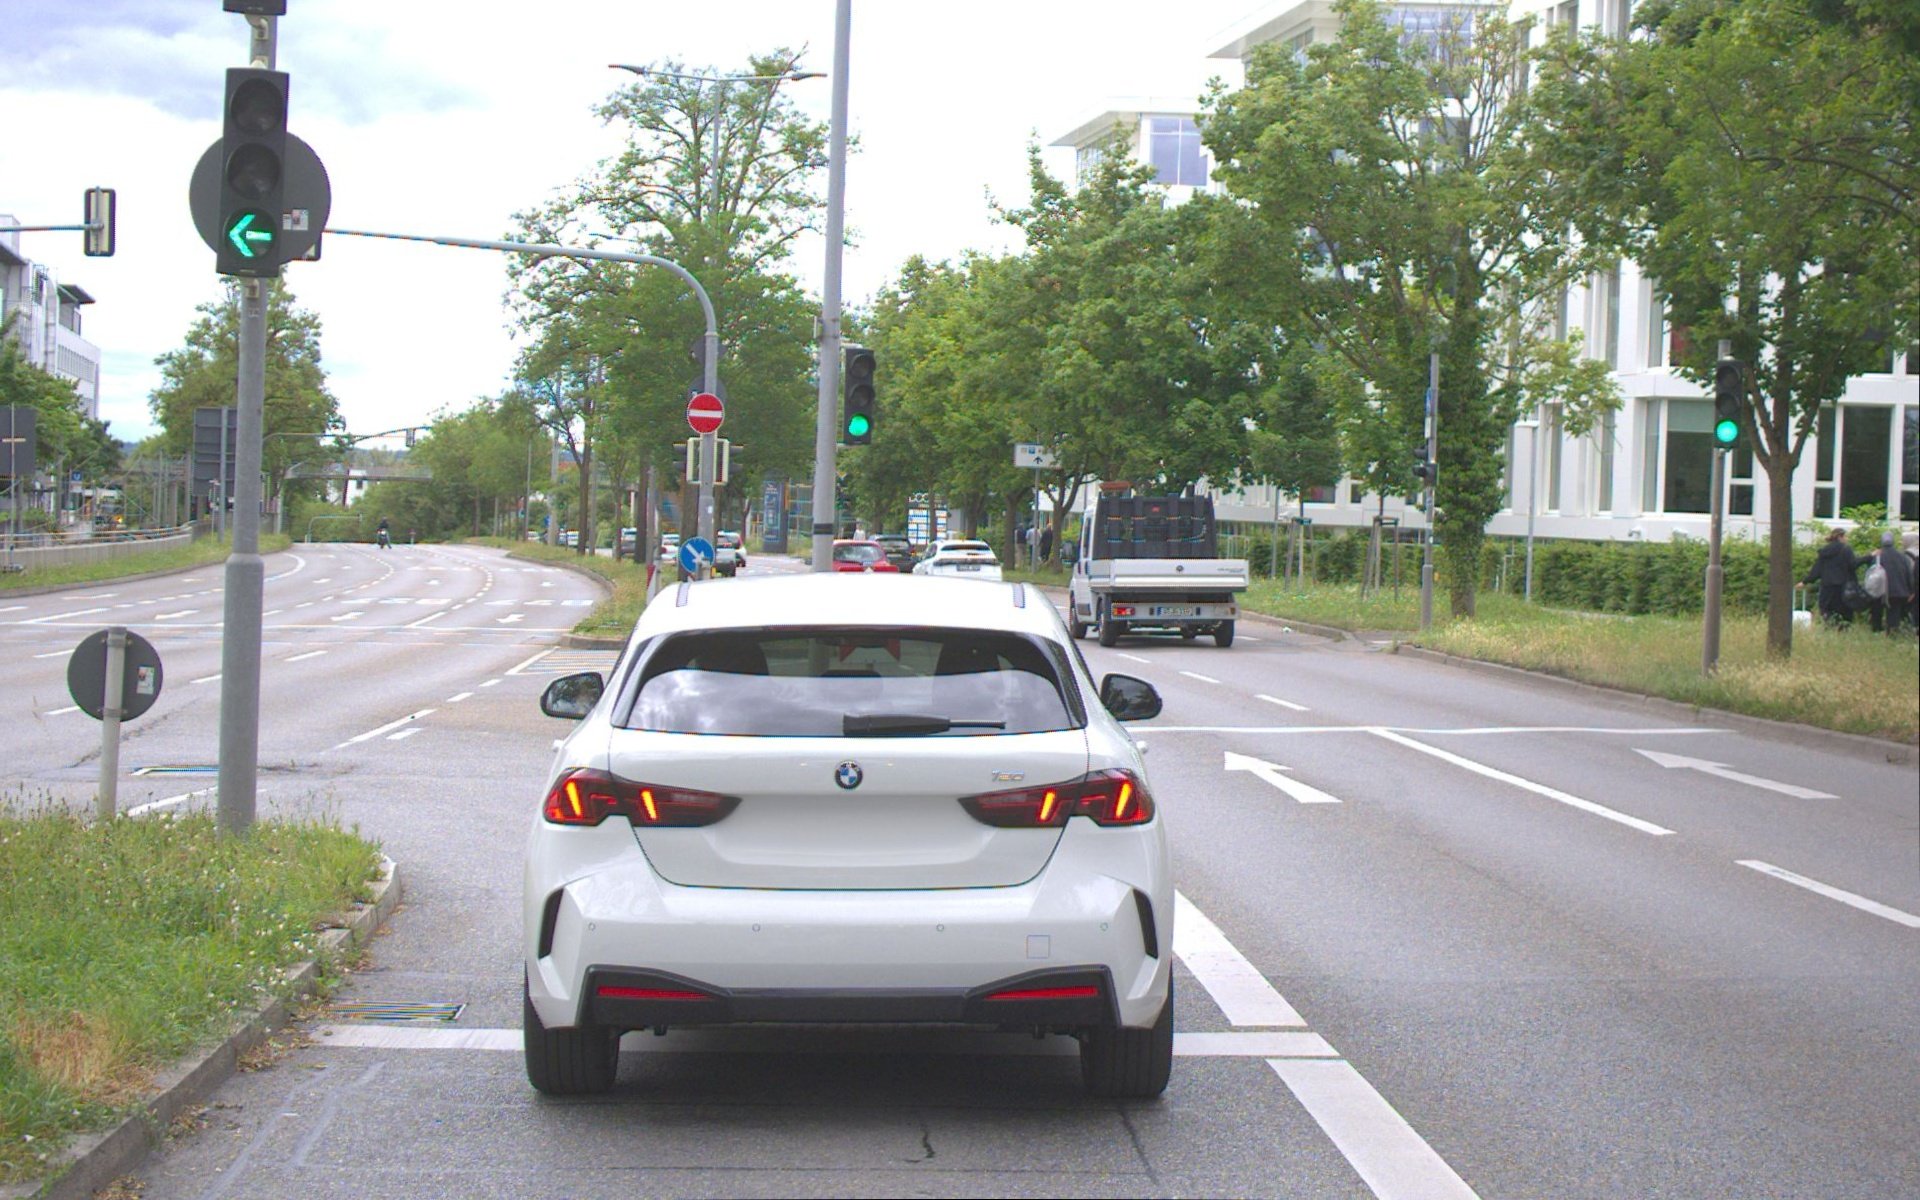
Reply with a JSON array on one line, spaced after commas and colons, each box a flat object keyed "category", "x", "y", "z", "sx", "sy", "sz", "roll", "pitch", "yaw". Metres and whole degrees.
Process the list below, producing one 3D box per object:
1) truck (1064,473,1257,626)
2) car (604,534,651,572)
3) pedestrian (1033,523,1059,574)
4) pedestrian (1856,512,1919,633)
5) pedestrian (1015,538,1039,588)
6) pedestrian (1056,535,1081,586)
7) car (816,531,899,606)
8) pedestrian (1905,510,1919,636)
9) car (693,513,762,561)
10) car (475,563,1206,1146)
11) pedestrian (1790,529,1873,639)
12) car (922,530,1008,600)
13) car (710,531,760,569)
[{"category": "truck", "x": 3.028, "y": -0.781, "z": 53.318, "sx": 2.211, "sy": 2.196, "sz": 5.845, "roll": 1, "pitch": 1, "yaw": -4}, {"category": "car", "x": -14.941, "y": -2.119, "z": 154.311, "sx": 1.891, "sy": 1.590, "sz": 4.315, "roll": 2, "pitch": 1, "yaw": -8}, {"category": "pedestrian", "x": 3.444, "y": -2.053, "z": 136.952, "sx": 0.848, "sy": 2.007, "sz": 0.606, "roll": 1, "pitch": 1, "yaw": -15}, {"category": "pedestrian", "x": 12.397, "y": -0.363, "z": 45.713, "sx": 0.699, "sy": 1.590, "sz": 0.883, "roll": 1, "pitch": 0, "yaw": -1}, {"category": "pedestrian", "x": 2.701, "y": -1.505, "z": 138.906, "sx": 0.762, "sy": 2.007, "sz": 0.754, "roll": 1, "pitch": 0, "yaw": -15}, {"category": "pedestrian", "x": 4.364, "y": -1.581, "z": 138.251, "sx": 0.762, "sy": 2.007, "sz": 0.754, "roll": 1, "pitch": 0, "yaw": -15}, {"category": "car", "x": -2.214, "y": -0.690, "z": 73.544, "sx": 1.716, "sy": 1.553, "sz": 3.858, "roll": 0, "pitch": 1, "yaw": -3}, {"category": "pedestrian", "x": 13.153, "y": -0.349, "z": 45.957, "sx": 0.767, "sy": 1.679, "sz": 0.883, "roll": 1, "pitch": 0, "yaw": -1}, {"category": "car", "x": -8.011, "y": -2.156, "z": 118.000, "sx": 1.854, "sy": 1.590, "sz": 4.315, "roll": 0, "pitch": 1, "yaw": -10}, {"category": "car", "x": -0.309, "y": 0.638, "z": 10.762, "sx": 1.822, "sy": 1.433, "sz": 4.000, "roll": 2, "pitch": 0, "yaw": 0}, {"category": "pedestrian", "x": 11.614, "y": -0.213, "z": 45.844, "sx": 0.789, "sy": 1.443, "sz": 1.112, "roll": 1, "pitch": 0, "yaw": -1}, {"category": "car", "x": 0.095, "y": -0.812, "z": 78.817, "sx": 1.715, "sy": 1.550, "sz": 4.090, "roll": 1, "pitch": 1, "yaw": -3}, {"category": "car", "x": -9.654, "y": -2.127, "z": 147.338, "sx": 1.854, "sy": 1.590, "sz": 4.315, "roll": 0, "pitch": 1, "yaw": -8}]
